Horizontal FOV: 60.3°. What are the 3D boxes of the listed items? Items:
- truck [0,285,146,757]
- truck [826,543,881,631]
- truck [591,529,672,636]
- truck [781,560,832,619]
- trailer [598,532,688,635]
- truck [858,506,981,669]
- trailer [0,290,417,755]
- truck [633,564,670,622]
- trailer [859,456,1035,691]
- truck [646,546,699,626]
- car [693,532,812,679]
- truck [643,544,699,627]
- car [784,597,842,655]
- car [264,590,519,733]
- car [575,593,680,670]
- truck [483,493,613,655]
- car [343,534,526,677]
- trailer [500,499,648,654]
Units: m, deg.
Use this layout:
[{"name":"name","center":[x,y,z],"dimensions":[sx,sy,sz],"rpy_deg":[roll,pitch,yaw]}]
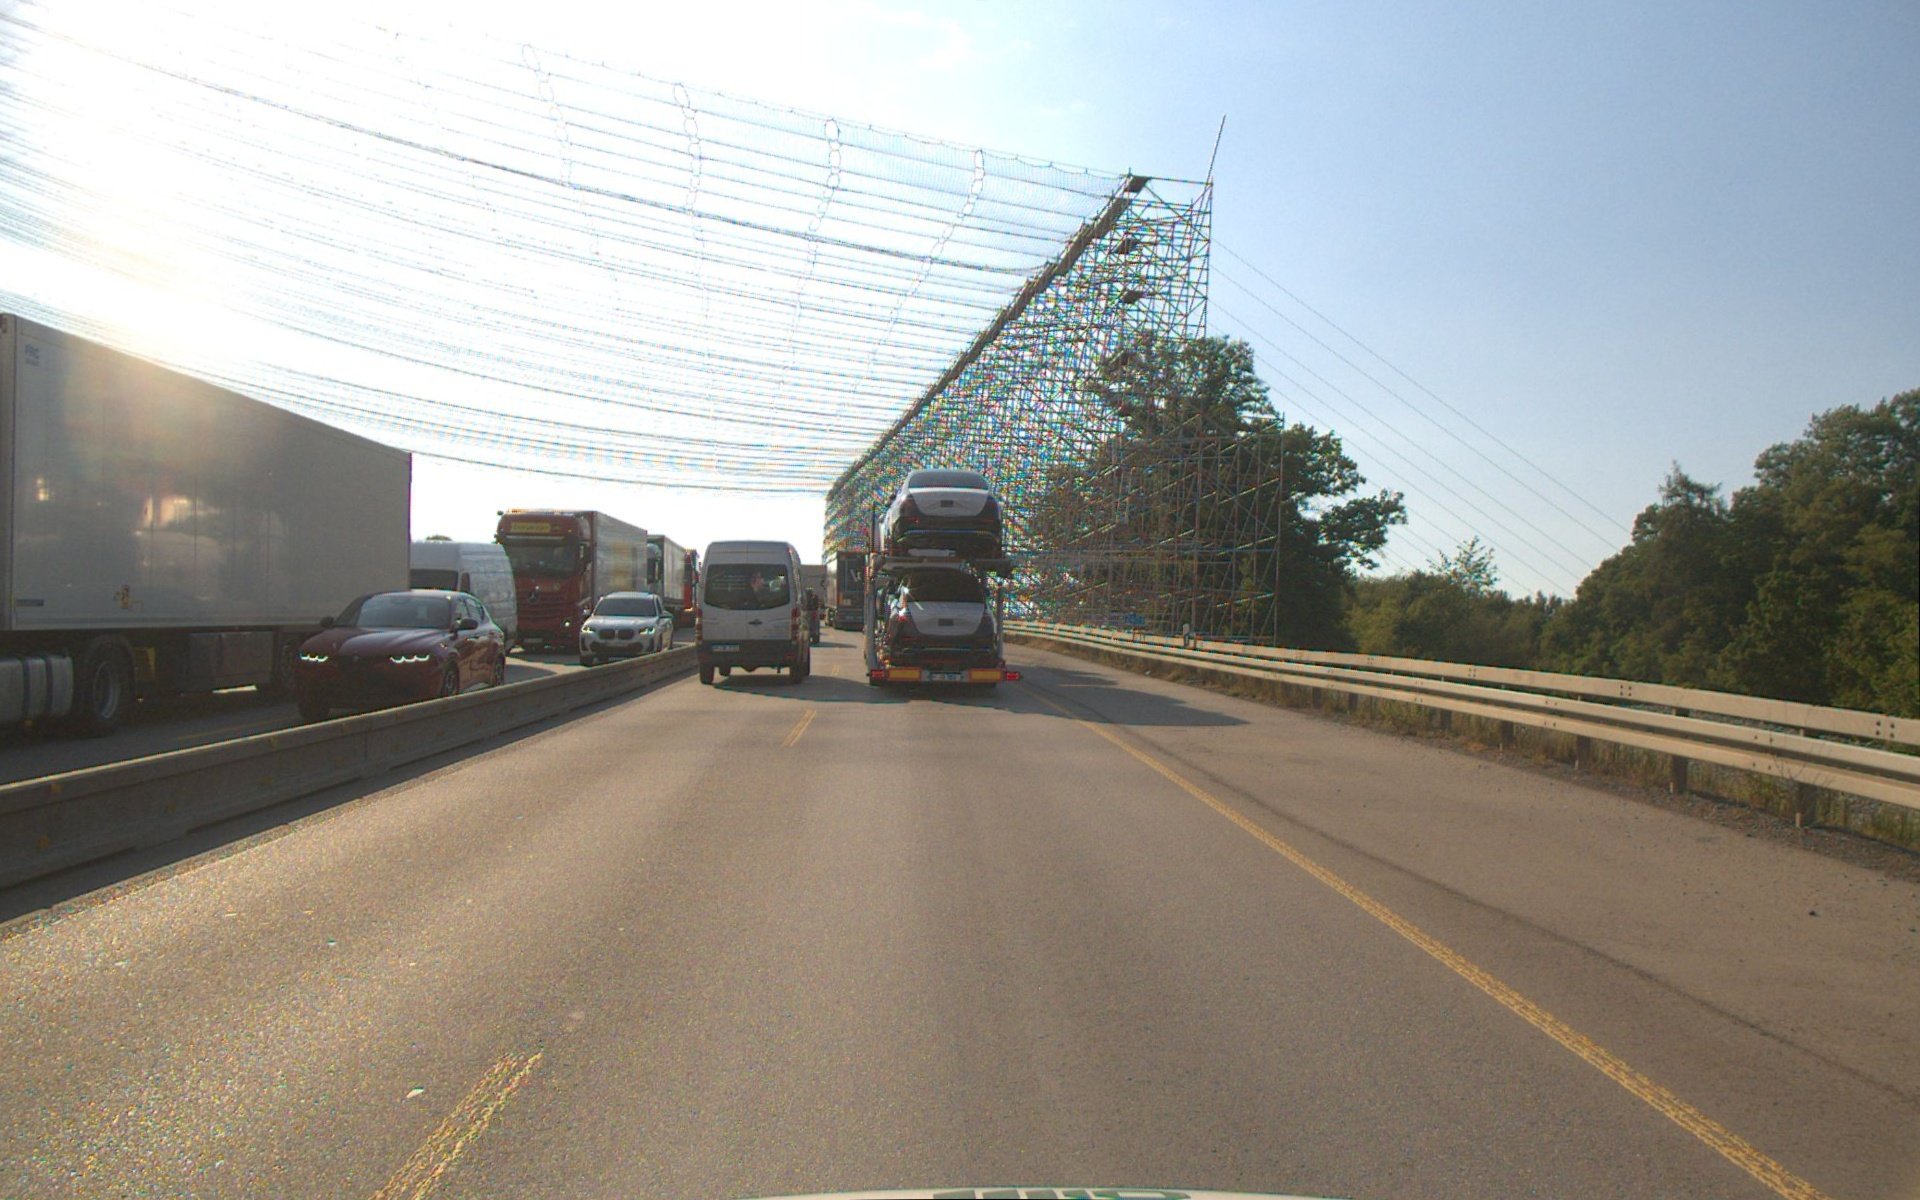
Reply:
[{"name":"truck","center":[-10.076,-0.726,15.128],"dimensions":[2.659,4.292,5.678],"rpy_deg":[0,0,-3]},{"name":"truck","center":[-5.965,-0.717,91.036],"dimensions":[2.679,4.462,11.509],"rpy_deg":[2,0,-5]},{"name":"truck","center":[-13.549,-0.668,68.614],"dimensions":[2.734,4.214,5.926],"rpy_deg":[1,0,-6]},{"name":"truck","center":[-12.131,-0.855,131.826],"dimensions":[3.614,4.294,13.657],"rpy_deg":[-2,1,-4]},{"name":"trailer","center":[-14.219,-0.630,75.124],"dimensions":[2.745,4.214,13.948],"rpy_deg":[1,0,-6]},{"name":"truck","center":[-1.129,-0.263,42.007],"dimensions":[2.824,3.767,7.320],"rpy_deg":[0,0,-3]},{"name":"trailer","center":[-10.472,-0.691,22.023],"dimensions":[2.667,4.292,13.739],"rpy_deg":[0,0,-3]},{"name":"truck","center":[-23.588,-0.499,126.355],"dimensions":[2.615,4.304,6.087],"rpy_deg":[1,0,-11]},{"name":"trailer","center":[-0.654,-0.385,34.338],"dimensions":[2.812,3.790,14.935],"rpy_deg":[0,0,-4]},{"name":"truck","center":[-16.292,-0.691,94.328],"dimensions":[2.736,4.214,13.778],"rpy_deg":[1,0,-9]},{"name":"car","center":[-3.946,0.113,32.068],"dimensions":[1.917,2.667,3.998],"rpy_deg":[0,-1,-2]},{"name":"truck","center":[-15.284,-0.711,87.824],"dimensions":[2.736,4.214,6.665],"rpy_deg":[1,0,-9]},{"name":"car","center":[-5.499,0.943,61.426],"dimensions":[1.956,2.049,3.993],"rpy_deg":[1,-1,-7]},{"name":"car","center":[-7.196,0.707,21.454],"dimensions":[1.850,1.595,4.454],"rpy_deg":[2,1,-2]},{"name":"car","center":[-7.989,0.709,40.085],"dimensions":[1.833,1.616,4.800],"rpy_deg":[2,1,-4]},{"name":"truck","center":[-11.764,-0.689,47.761],"dimensions":[2.691,4.375,5.927],"rpy_deg":[1,0,-5]},{"name":"car","center":[-11.143,0.063,35.694],"dimensions":[1.981,2.737,6.945],"rpy_deg":[1,1,-3]},{"name":"trailer","center":[-12.321,-0.642,54.195],"dimensions":[2.712,4.409,13.866],"rpy_deg":[1,0,-5]}]
